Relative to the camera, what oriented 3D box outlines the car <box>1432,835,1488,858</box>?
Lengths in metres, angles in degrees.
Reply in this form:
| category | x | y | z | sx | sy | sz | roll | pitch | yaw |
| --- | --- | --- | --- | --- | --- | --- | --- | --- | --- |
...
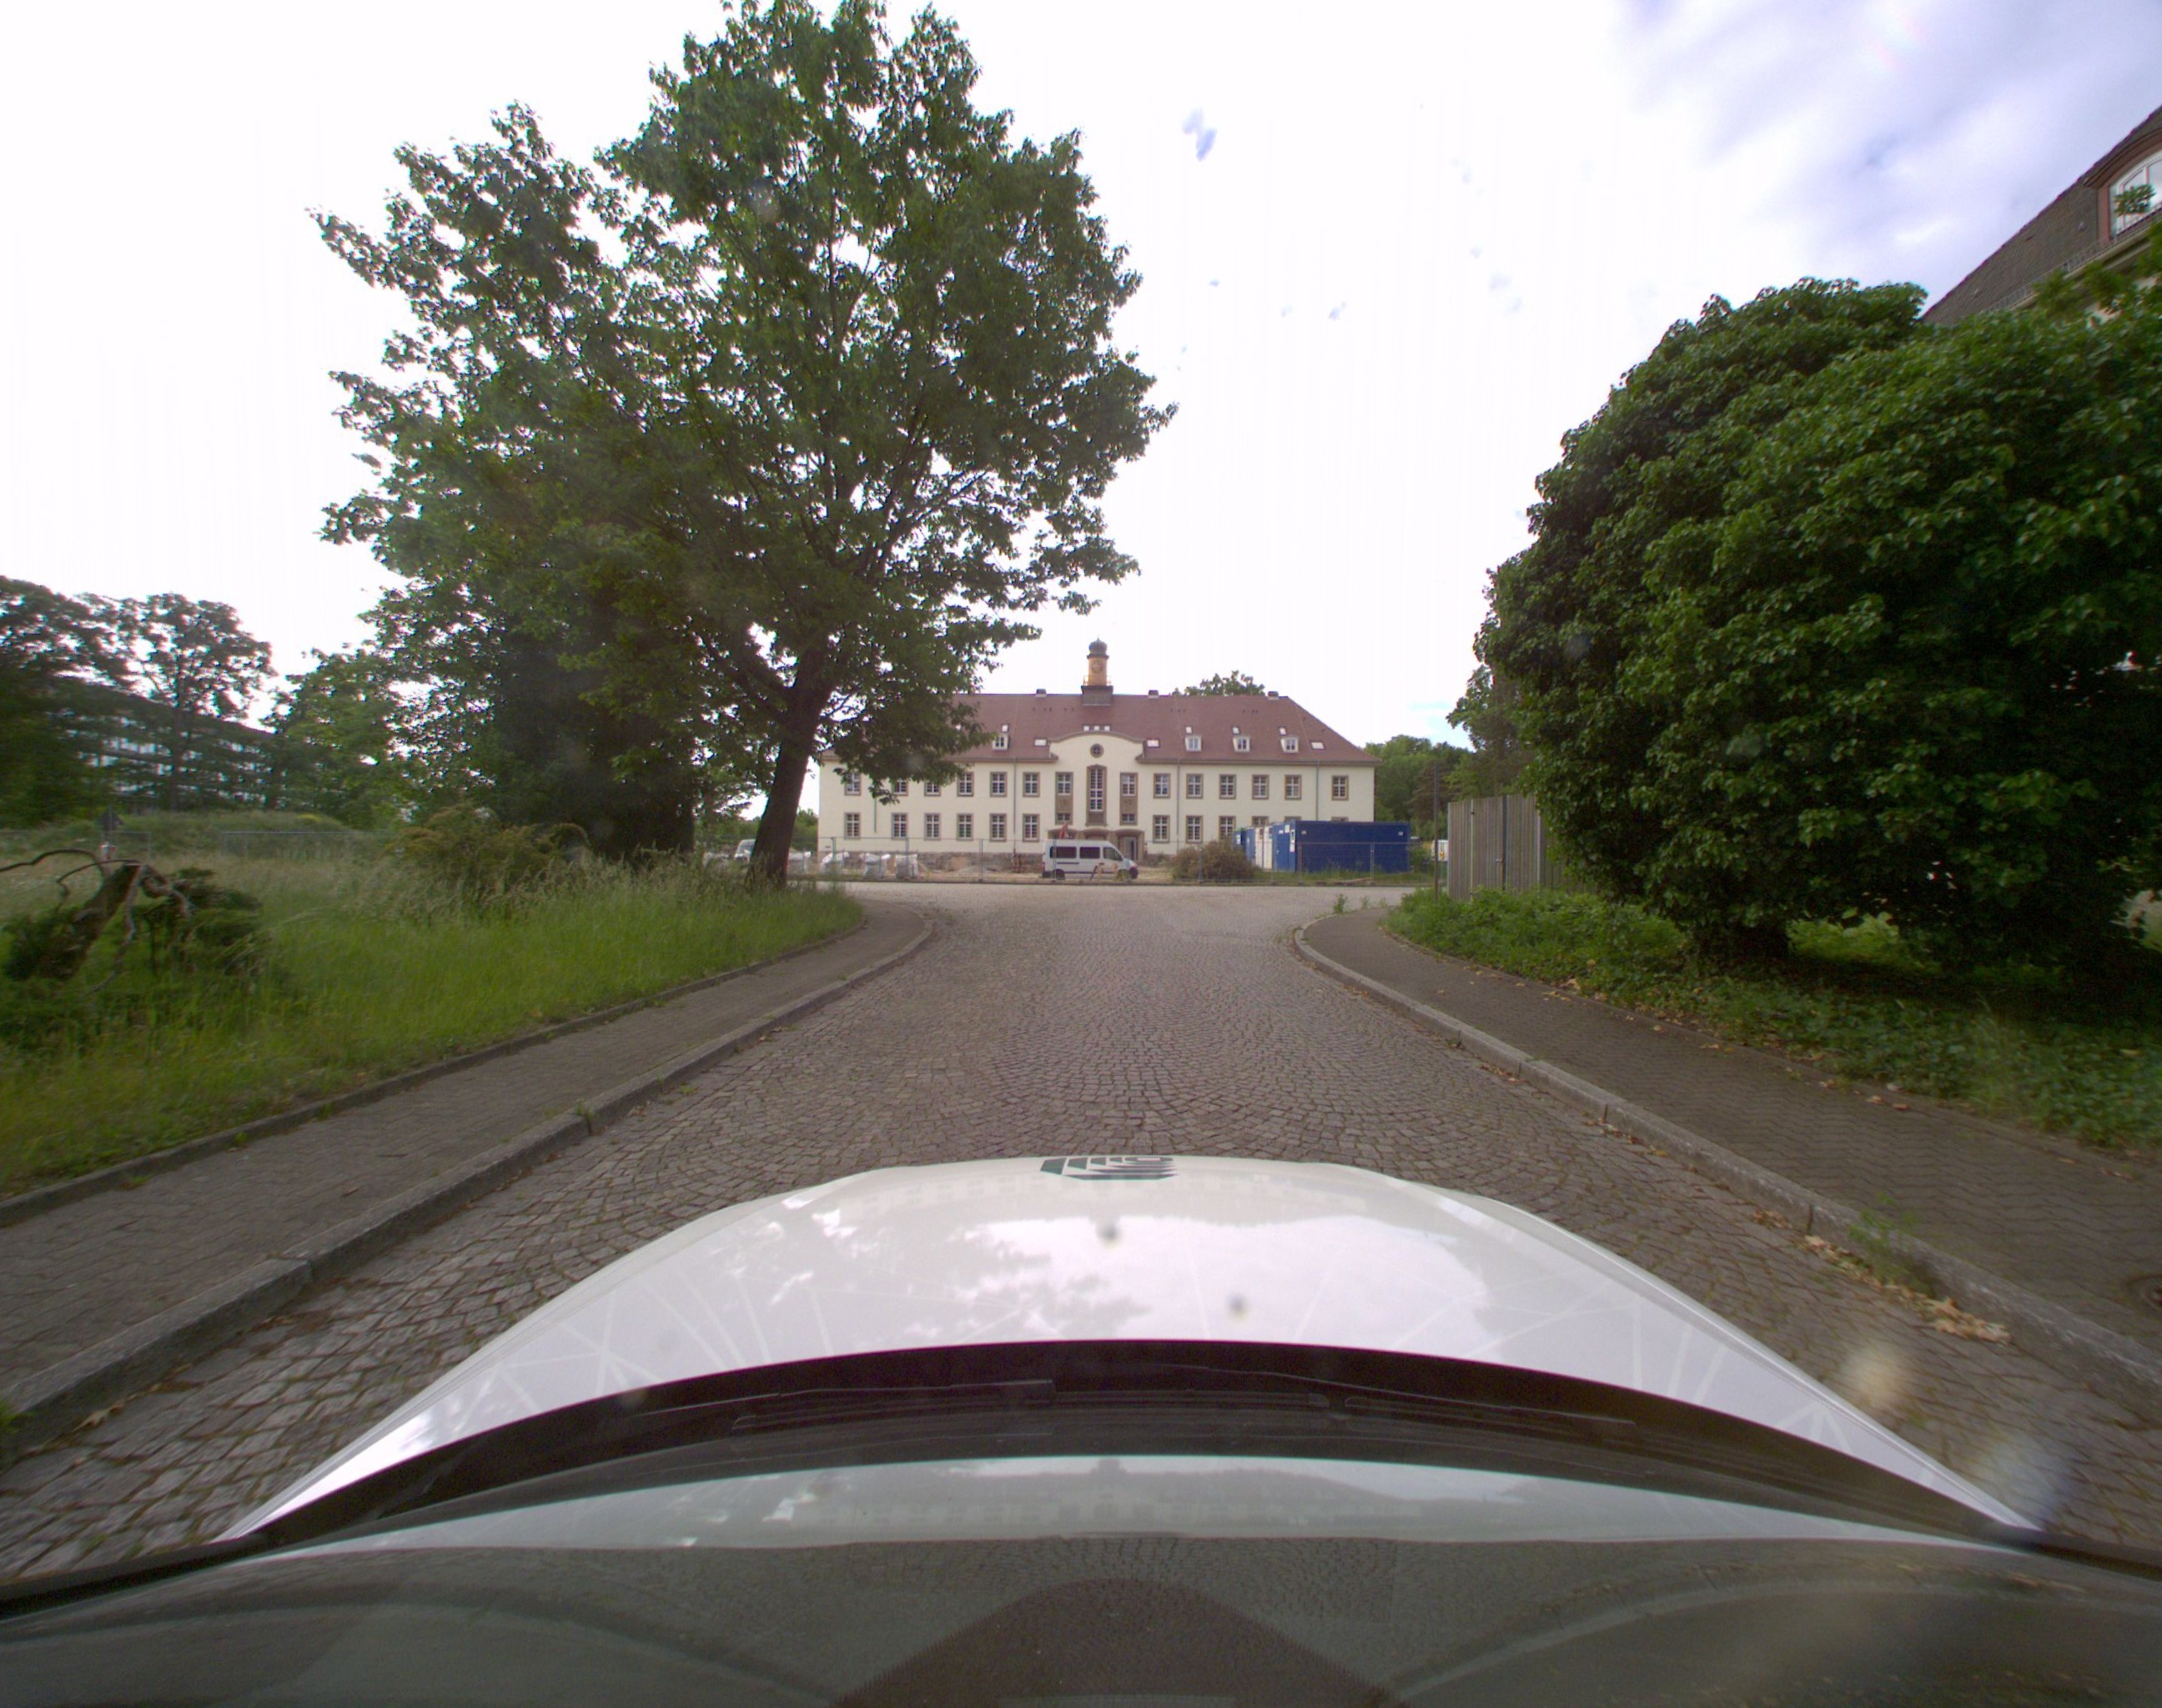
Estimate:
| category | x | y | z | sx | sy | sz | roll | pitch | yaw |
| --- | --- | --- | --- | --- | --- | --- | --- | --- | --- |
| car | 33.546 | -0.663 | 72.052 | 5.439 | 2.043 | 1.747 | 0 | 0 | -31 |

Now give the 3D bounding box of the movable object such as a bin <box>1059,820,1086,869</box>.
| category | x | y | z | sx | sy | sz | roll | pitch | yaw |
| --- | --- | --- | --- | --- | --- | --- | --- | --- | --- |
| movable object such as a bin | -0.735 | -0.710 | 65.556 | 1.989 | 3.771 | 5.311 | 1 | 0 | -3 |

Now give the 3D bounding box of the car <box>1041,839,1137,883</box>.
| category | x | y | z | sx | sy | sz | roll | pitch | yaw |
| --- | --- | --- | --- | --- | --- | --- | --- | --- | --- |
| car | 0.470 | 0.376 | 45.176 | 5.243 | 2.344 | 1.911 | 0 | 0 | 1 |

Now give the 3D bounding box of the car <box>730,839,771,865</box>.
| category | x | y | z | sx | sy | sz | roll | pitch | yaw |
| --- | --- | --- | --- | --- | --- | --- | --- | --- | --- |
| car | -29.121 | -0.172 | 71.960 | 2.064 | 2.150 | 4.889 | 0 | 0 | -6 |
